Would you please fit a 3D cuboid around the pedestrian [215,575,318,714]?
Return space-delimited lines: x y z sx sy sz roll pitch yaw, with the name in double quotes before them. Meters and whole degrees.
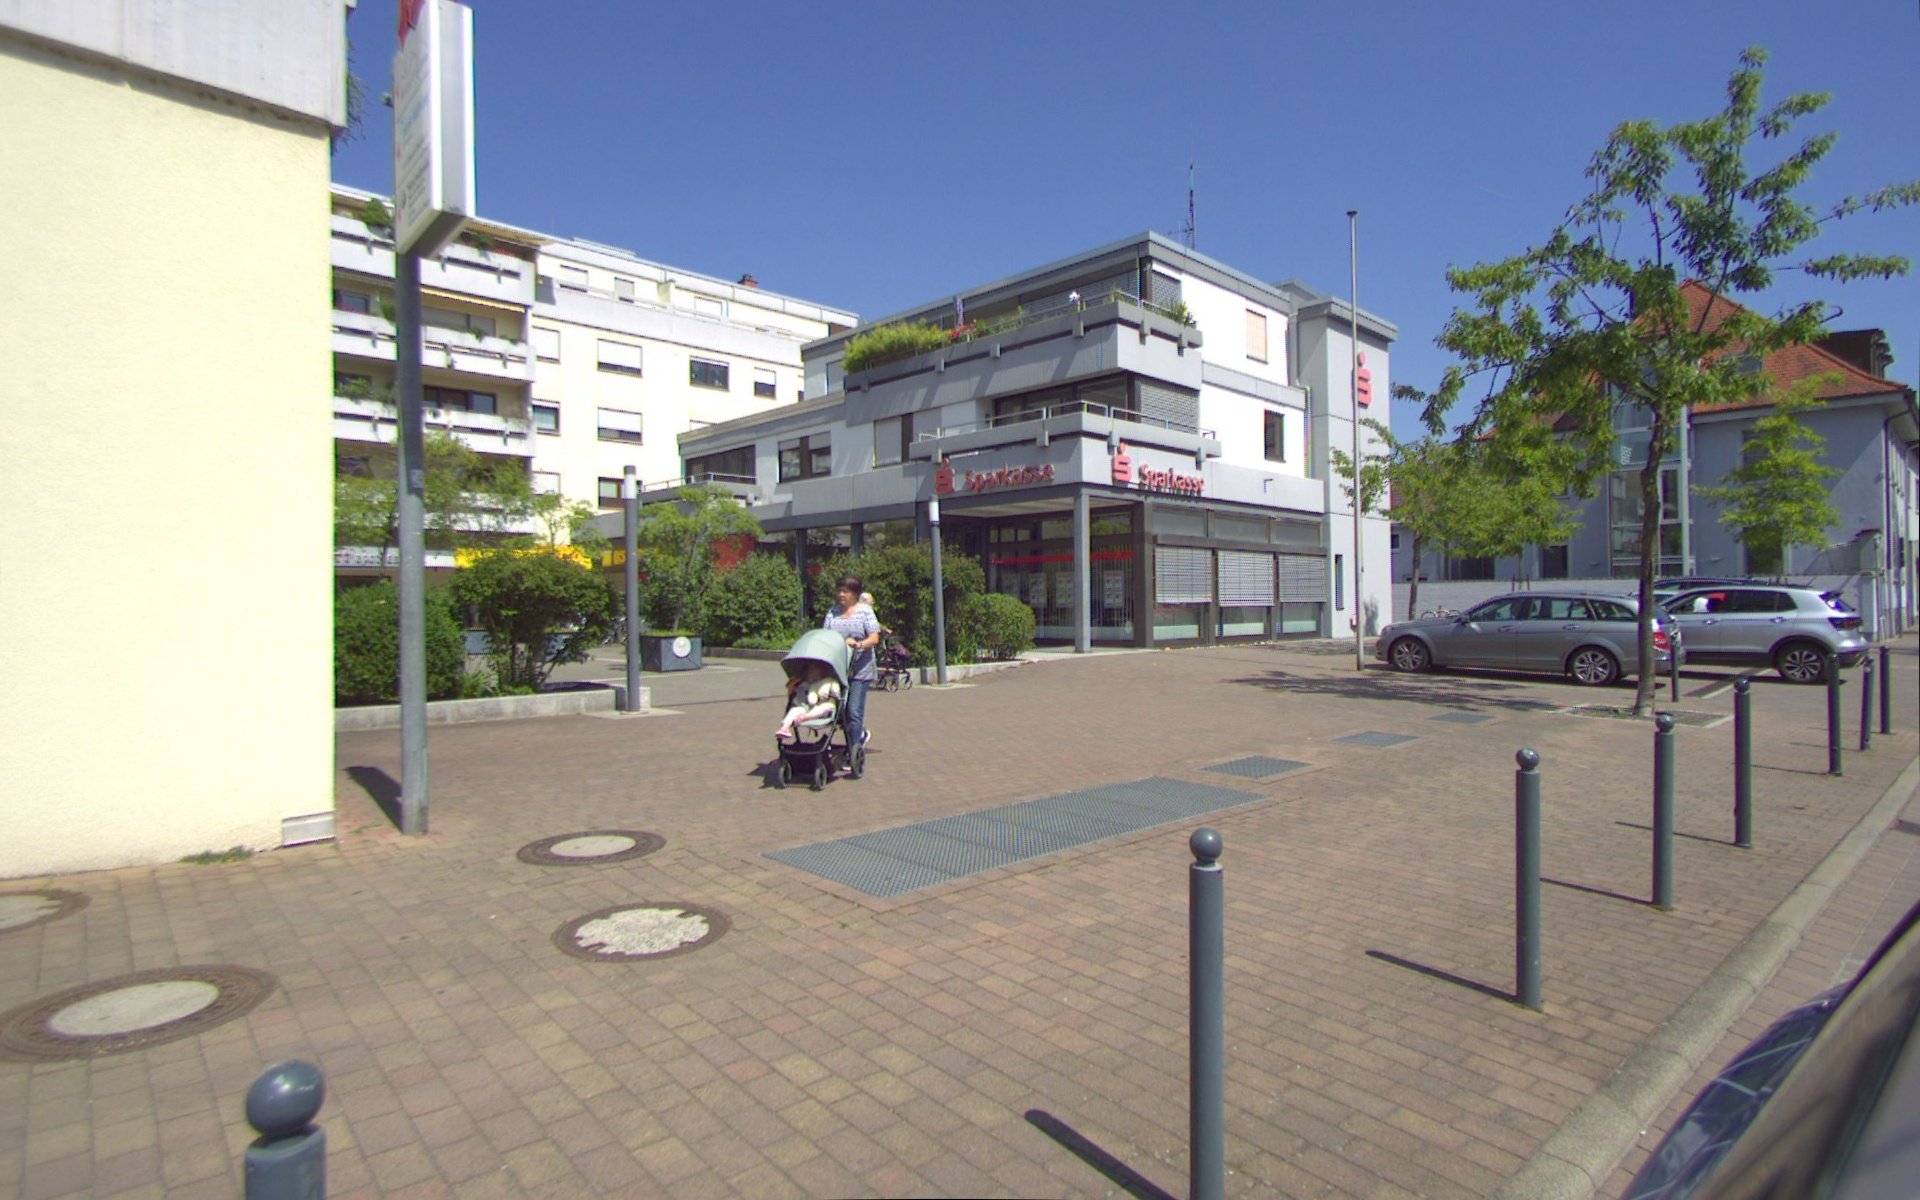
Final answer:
"pedestrian" -9.111 0.565 13.329 0.692 1.758 0.900 -1 0 8

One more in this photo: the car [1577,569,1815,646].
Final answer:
"car" 18.721 0.123 25.905 2.112 1.793 4.635 0 1 -43

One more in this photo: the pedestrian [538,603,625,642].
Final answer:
"pedestrian" -13.214 0.752 35.421 0.982 1.290 2.736 -1 0 40

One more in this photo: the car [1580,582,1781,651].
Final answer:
"car" 17.196 0.337 24.247 3.729 1.470 1.718 2 1 43

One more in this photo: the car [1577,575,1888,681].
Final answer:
"car" 13.130 0.393 17.364 1.826 1.593 3.992 0 1 -43

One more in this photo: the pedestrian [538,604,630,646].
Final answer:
"pedestrian" -12.447 0.813 33.569 0.982 1.290 2.736 -1 0 40

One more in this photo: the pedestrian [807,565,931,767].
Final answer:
"pedestrian" -0.728 0.512 8.251 0.698 1.541 0.794 -1 -1 24

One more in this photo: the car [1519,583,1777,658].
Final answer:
"car" 15.238 0.369 22.579 4.535 1.458 1.811 2 1 43

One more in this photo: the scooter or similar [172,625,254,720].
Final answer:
"scooter or similar" -9.112 0.867 12.368 0.578 1.088 0.807 -1 0 -17

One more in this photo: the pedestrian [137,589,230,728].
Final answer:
"pedestrian" -8.880 0.643 11.601 0.606 1.516 0.813 -1 0 -17

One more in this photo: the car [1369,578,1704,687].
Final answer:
"car" 9.509 0.425 16.945 4.575 1.531 1.887 2 2 43

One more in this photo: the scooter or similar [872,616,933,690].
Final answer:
"scooter or similar" -0.873 0.793 15.445 0.793 1.088 0.588 -1 -1 13

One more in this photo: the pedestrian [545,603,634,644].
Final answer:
"pedestrian" -12.697 0.783 34.748 0.982 1.290 2.736 -1 0 40

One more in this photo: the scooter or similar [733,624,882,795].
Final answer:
"scooter or similar" -1.089 0.747 7.398 0.621 1.120 1.035 -1 0 24

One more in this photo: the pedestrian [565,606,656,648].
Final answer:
"pedestrian" -11.422 0.854 33.161 0.982 1.290 2.736 -1 0 40

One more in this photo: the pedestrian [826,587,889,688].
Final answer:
"pedestrian" -1.585 0.575 15.735 0.799 1.516 0.666 -1 -1 13
